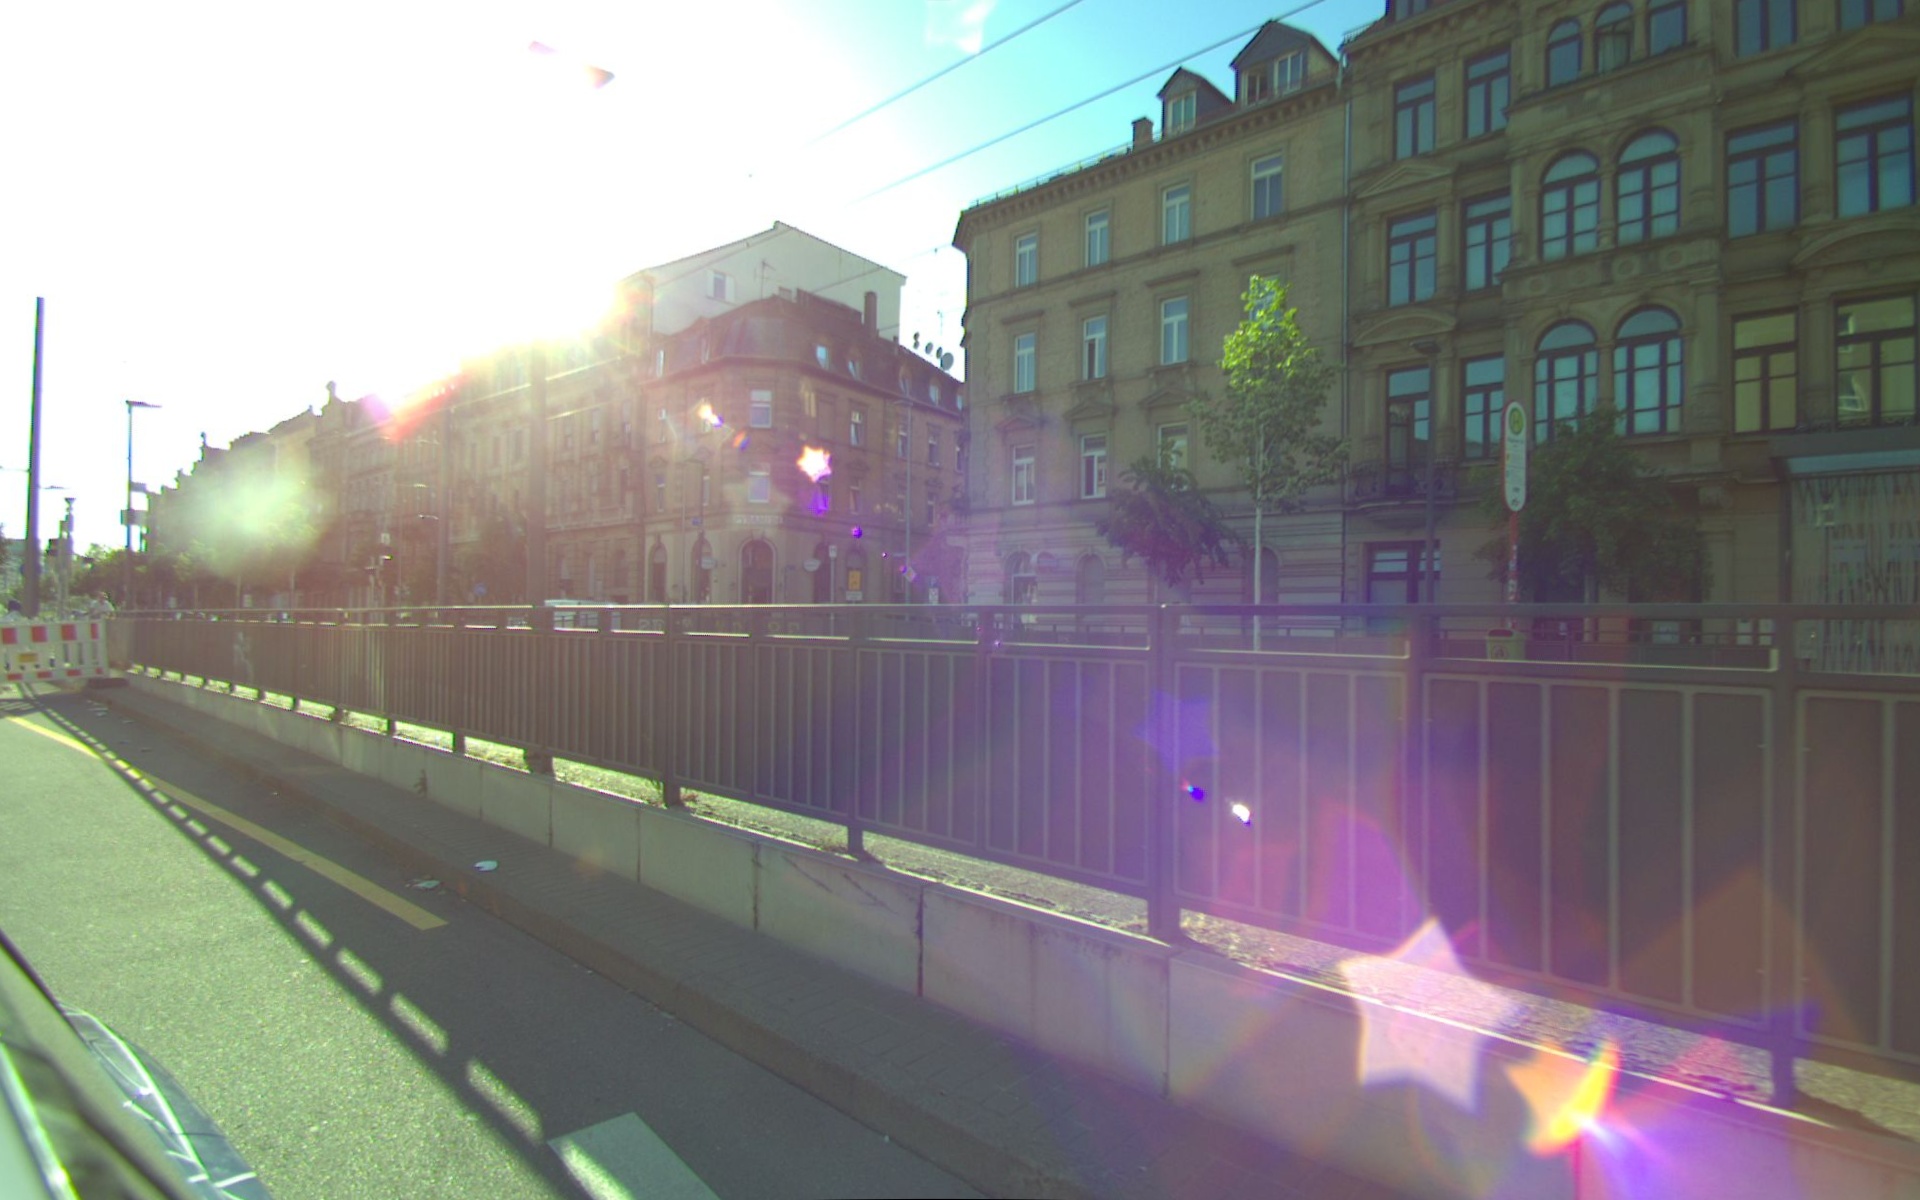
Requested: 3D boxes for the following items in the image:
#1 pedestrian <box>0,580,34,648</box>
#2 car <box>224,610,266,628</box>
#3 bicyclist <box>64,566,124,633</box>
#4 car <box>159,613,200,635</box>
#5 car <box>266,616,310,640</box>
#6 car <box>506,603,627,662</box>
[{"bbox_3d":[-21.034,0.313,22.318,0.946,1.469,0.781,-1,-2,41],"label":"pedestrian"},{"bbox_3d":[-59.682,1.564,84.433,4.307,1.449,1.972,-1,-2,42],"label":"car"},{"bbox_3d":[-23.529,-0.004,27.510,0.848,1.787,0.880,0,-1,17],"label":"bicyclist"},{"bbox_3d":[-58.635,1.793,76.027,4.477,1.652,1.776,-1,-2,44],"label":"car"},{"bbox_3d":[-50.820,2.103,76.514,4.546,1.671,1.916,-1,0,45],"label":"car"},{"bbox_3d":[-13.754,1.099,35.232,4.579,1.894,1.973,-1,0,40],"label":"car"}]
